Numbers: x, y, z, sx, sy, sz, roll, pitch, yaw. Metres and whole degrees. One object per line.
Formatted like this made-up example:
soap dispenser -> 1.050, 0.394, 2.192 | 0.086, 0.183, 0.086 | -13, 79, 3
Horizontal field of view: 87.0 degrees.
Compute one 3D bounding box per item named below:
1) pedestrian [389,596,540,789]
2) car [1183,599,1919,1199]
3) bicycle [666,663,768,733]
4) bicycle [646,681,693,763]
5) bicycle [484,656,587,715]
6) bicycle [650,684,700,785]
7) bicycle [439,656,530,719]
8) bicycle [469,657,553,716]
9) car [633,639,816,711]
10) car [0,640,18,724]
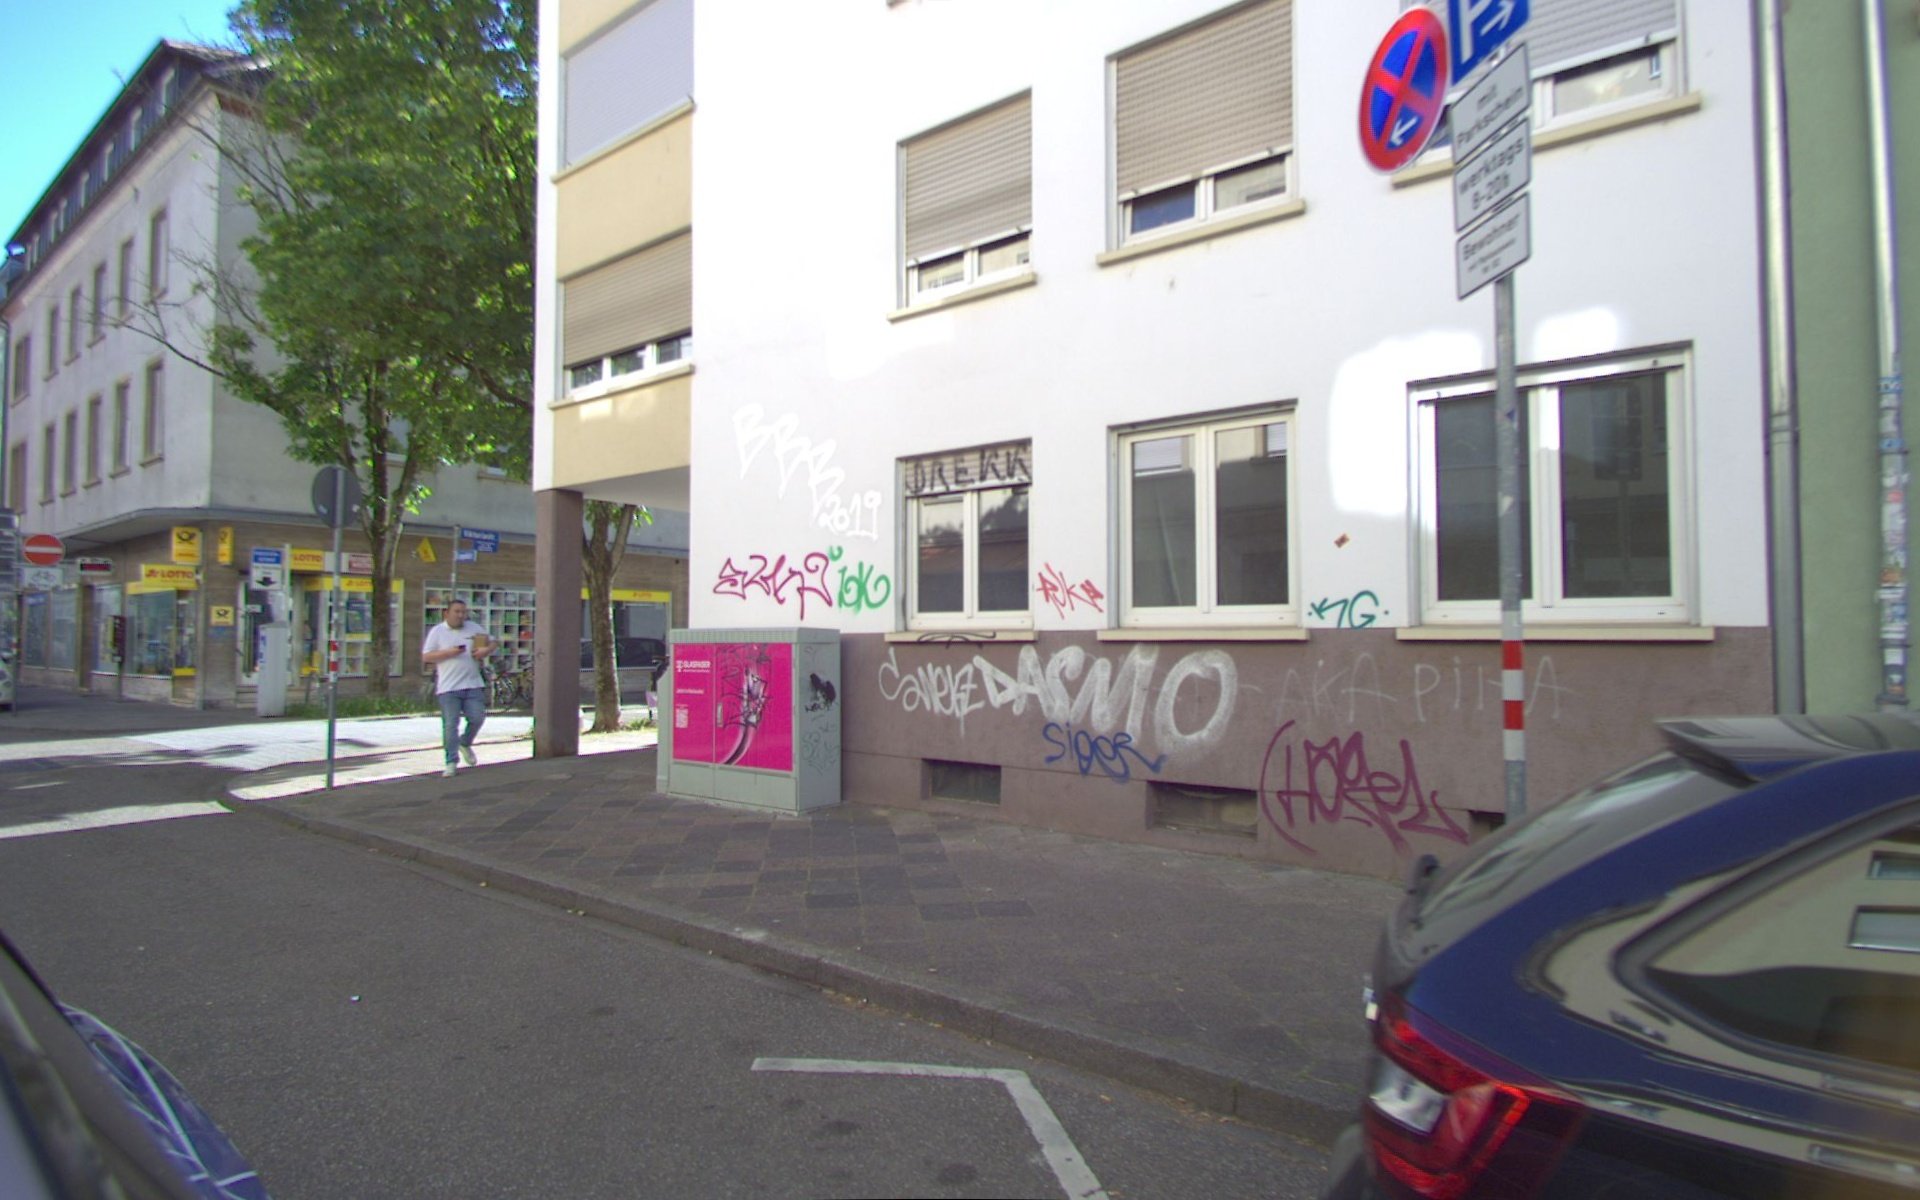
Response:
pedestrian -> -5.109, 0.919, 10.438 | 1.243, 1.846, 0.902 | -2, -3, 38
car -> 2.731, 0.778, 0.584 | 4.844, 1.500, 1.698 | -2, -6, 37
bicycle -> -4.088, 1.624, 16.945 | 2.059, 1.110, 0.477 | -3, -4, 37
bicycle -> -3.493, 1.443, 12.239 | 0.397, 0.904, 1.589 | 1, -4, -12
bicycle -> -9.084, 1.802, 21.633 | 2.420, 1.135, 0.701 | 0, -3, 31
bicycle -> -2.990, 1.380, 10.697 | 0.424, 0.889, 1.573 | -1, -2, -13
bicycle -> -9.628, 1.742, 20.468 | 2.305, 1.152, 0.700 | -1, -3, 39
bicycle -> -9.394, 1.781, 21.125 | 2.400, 1.126, 0.517 | -1, -3, 38
car -> -5.864, 1.844, 25.621 | 1.900, 1.598, 4.184 | 0, -2, 39
car -> -19.713, 1.553, 19.563 | 3.717, 1.572, 1.651 | -2, -3, 39
